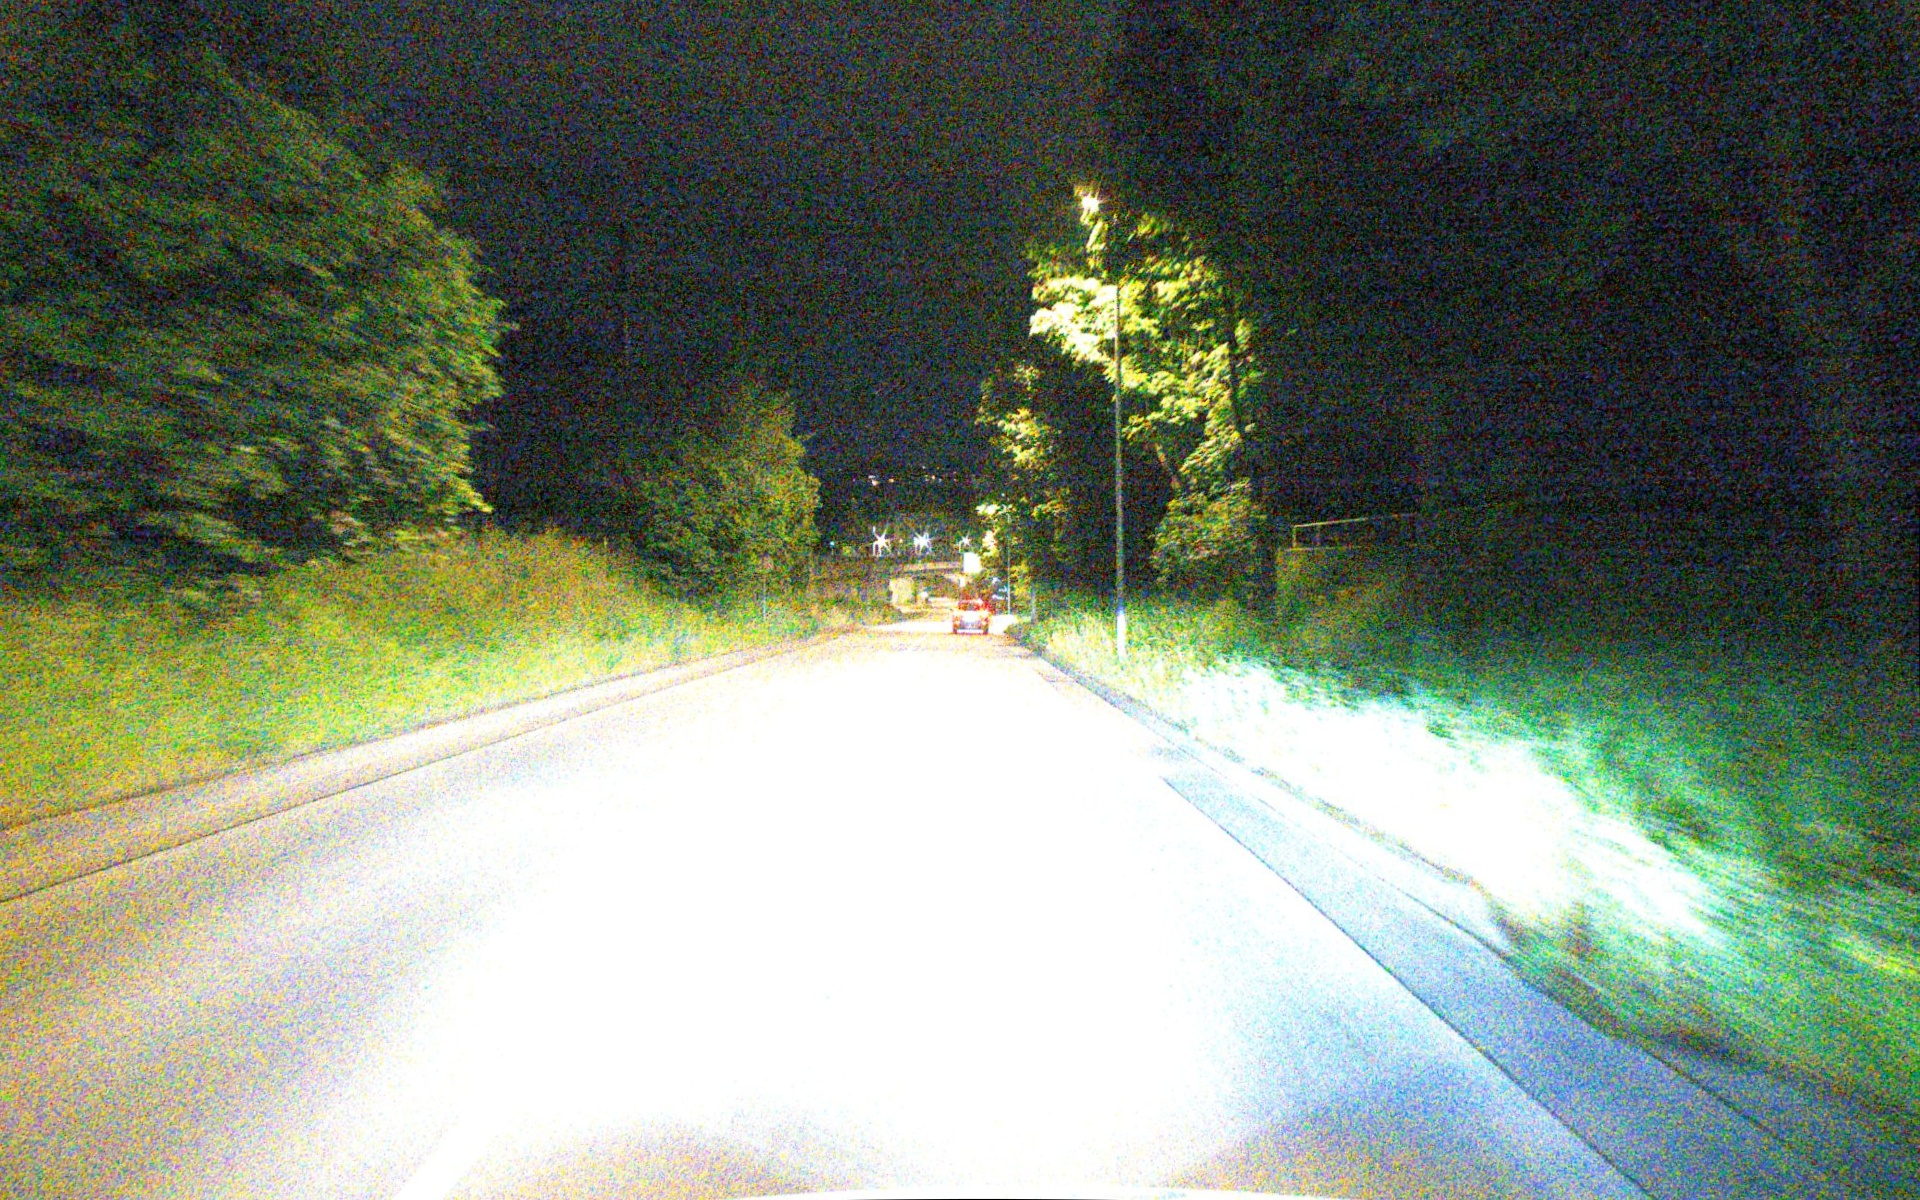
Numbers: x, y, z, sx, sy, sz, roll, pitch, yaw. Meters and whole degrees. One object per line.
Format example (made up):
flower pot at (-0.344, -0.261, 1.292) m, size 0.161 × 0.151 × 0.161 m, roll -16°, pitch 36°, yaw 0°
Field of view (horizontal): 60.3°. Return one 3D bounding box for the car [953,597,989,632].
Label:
car at (0.554, 0.690, 81.728) m, size 1.727 × 1.670 × 3.723 m, roll 0°, pitch 1°, yaw 1°
